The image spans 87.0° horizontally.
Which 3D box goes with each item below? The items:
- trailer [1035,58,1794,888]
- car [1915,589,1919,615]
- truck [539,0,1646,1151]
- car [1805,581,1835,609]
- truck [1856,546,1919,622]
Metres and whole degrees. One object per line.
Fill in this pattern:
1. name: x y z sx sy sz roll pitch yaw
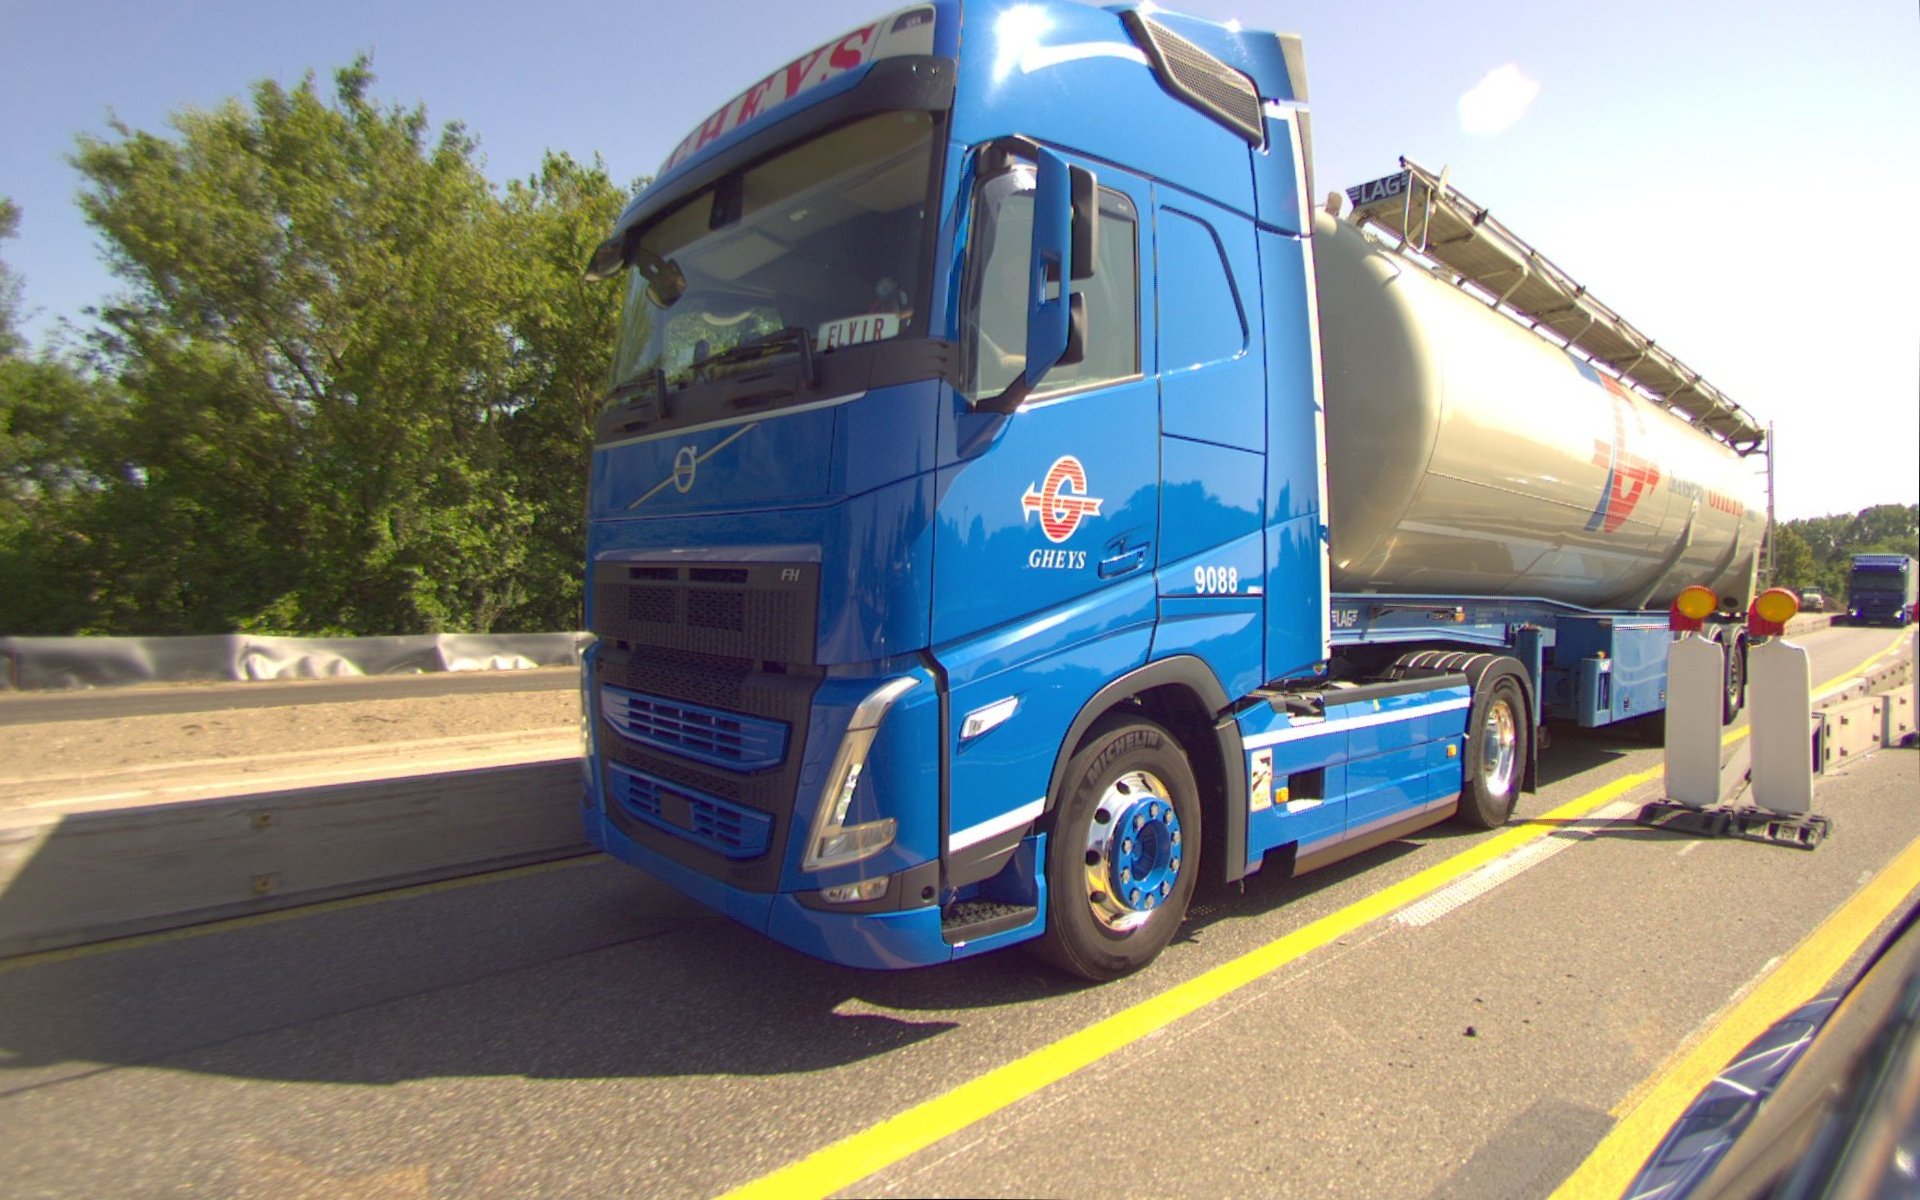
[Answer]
1. trailer: 5.949 -0.708 10.465 12.408 4.187 2.697 0 3 -45
2. car: 77.051 0.194 80.005 3.935 2.038 1.996 0 3 -45
3. truck: 1.607 -0.655 6.186 7.179 4.152 2.697 0 3 -44
4. car: 88.110 -0.549 103.726 2.102 2.674 5.899 4 3 39
5. truck: 53.857 -0.893 58.192 2.856 4.033 8.526 4 3 44
